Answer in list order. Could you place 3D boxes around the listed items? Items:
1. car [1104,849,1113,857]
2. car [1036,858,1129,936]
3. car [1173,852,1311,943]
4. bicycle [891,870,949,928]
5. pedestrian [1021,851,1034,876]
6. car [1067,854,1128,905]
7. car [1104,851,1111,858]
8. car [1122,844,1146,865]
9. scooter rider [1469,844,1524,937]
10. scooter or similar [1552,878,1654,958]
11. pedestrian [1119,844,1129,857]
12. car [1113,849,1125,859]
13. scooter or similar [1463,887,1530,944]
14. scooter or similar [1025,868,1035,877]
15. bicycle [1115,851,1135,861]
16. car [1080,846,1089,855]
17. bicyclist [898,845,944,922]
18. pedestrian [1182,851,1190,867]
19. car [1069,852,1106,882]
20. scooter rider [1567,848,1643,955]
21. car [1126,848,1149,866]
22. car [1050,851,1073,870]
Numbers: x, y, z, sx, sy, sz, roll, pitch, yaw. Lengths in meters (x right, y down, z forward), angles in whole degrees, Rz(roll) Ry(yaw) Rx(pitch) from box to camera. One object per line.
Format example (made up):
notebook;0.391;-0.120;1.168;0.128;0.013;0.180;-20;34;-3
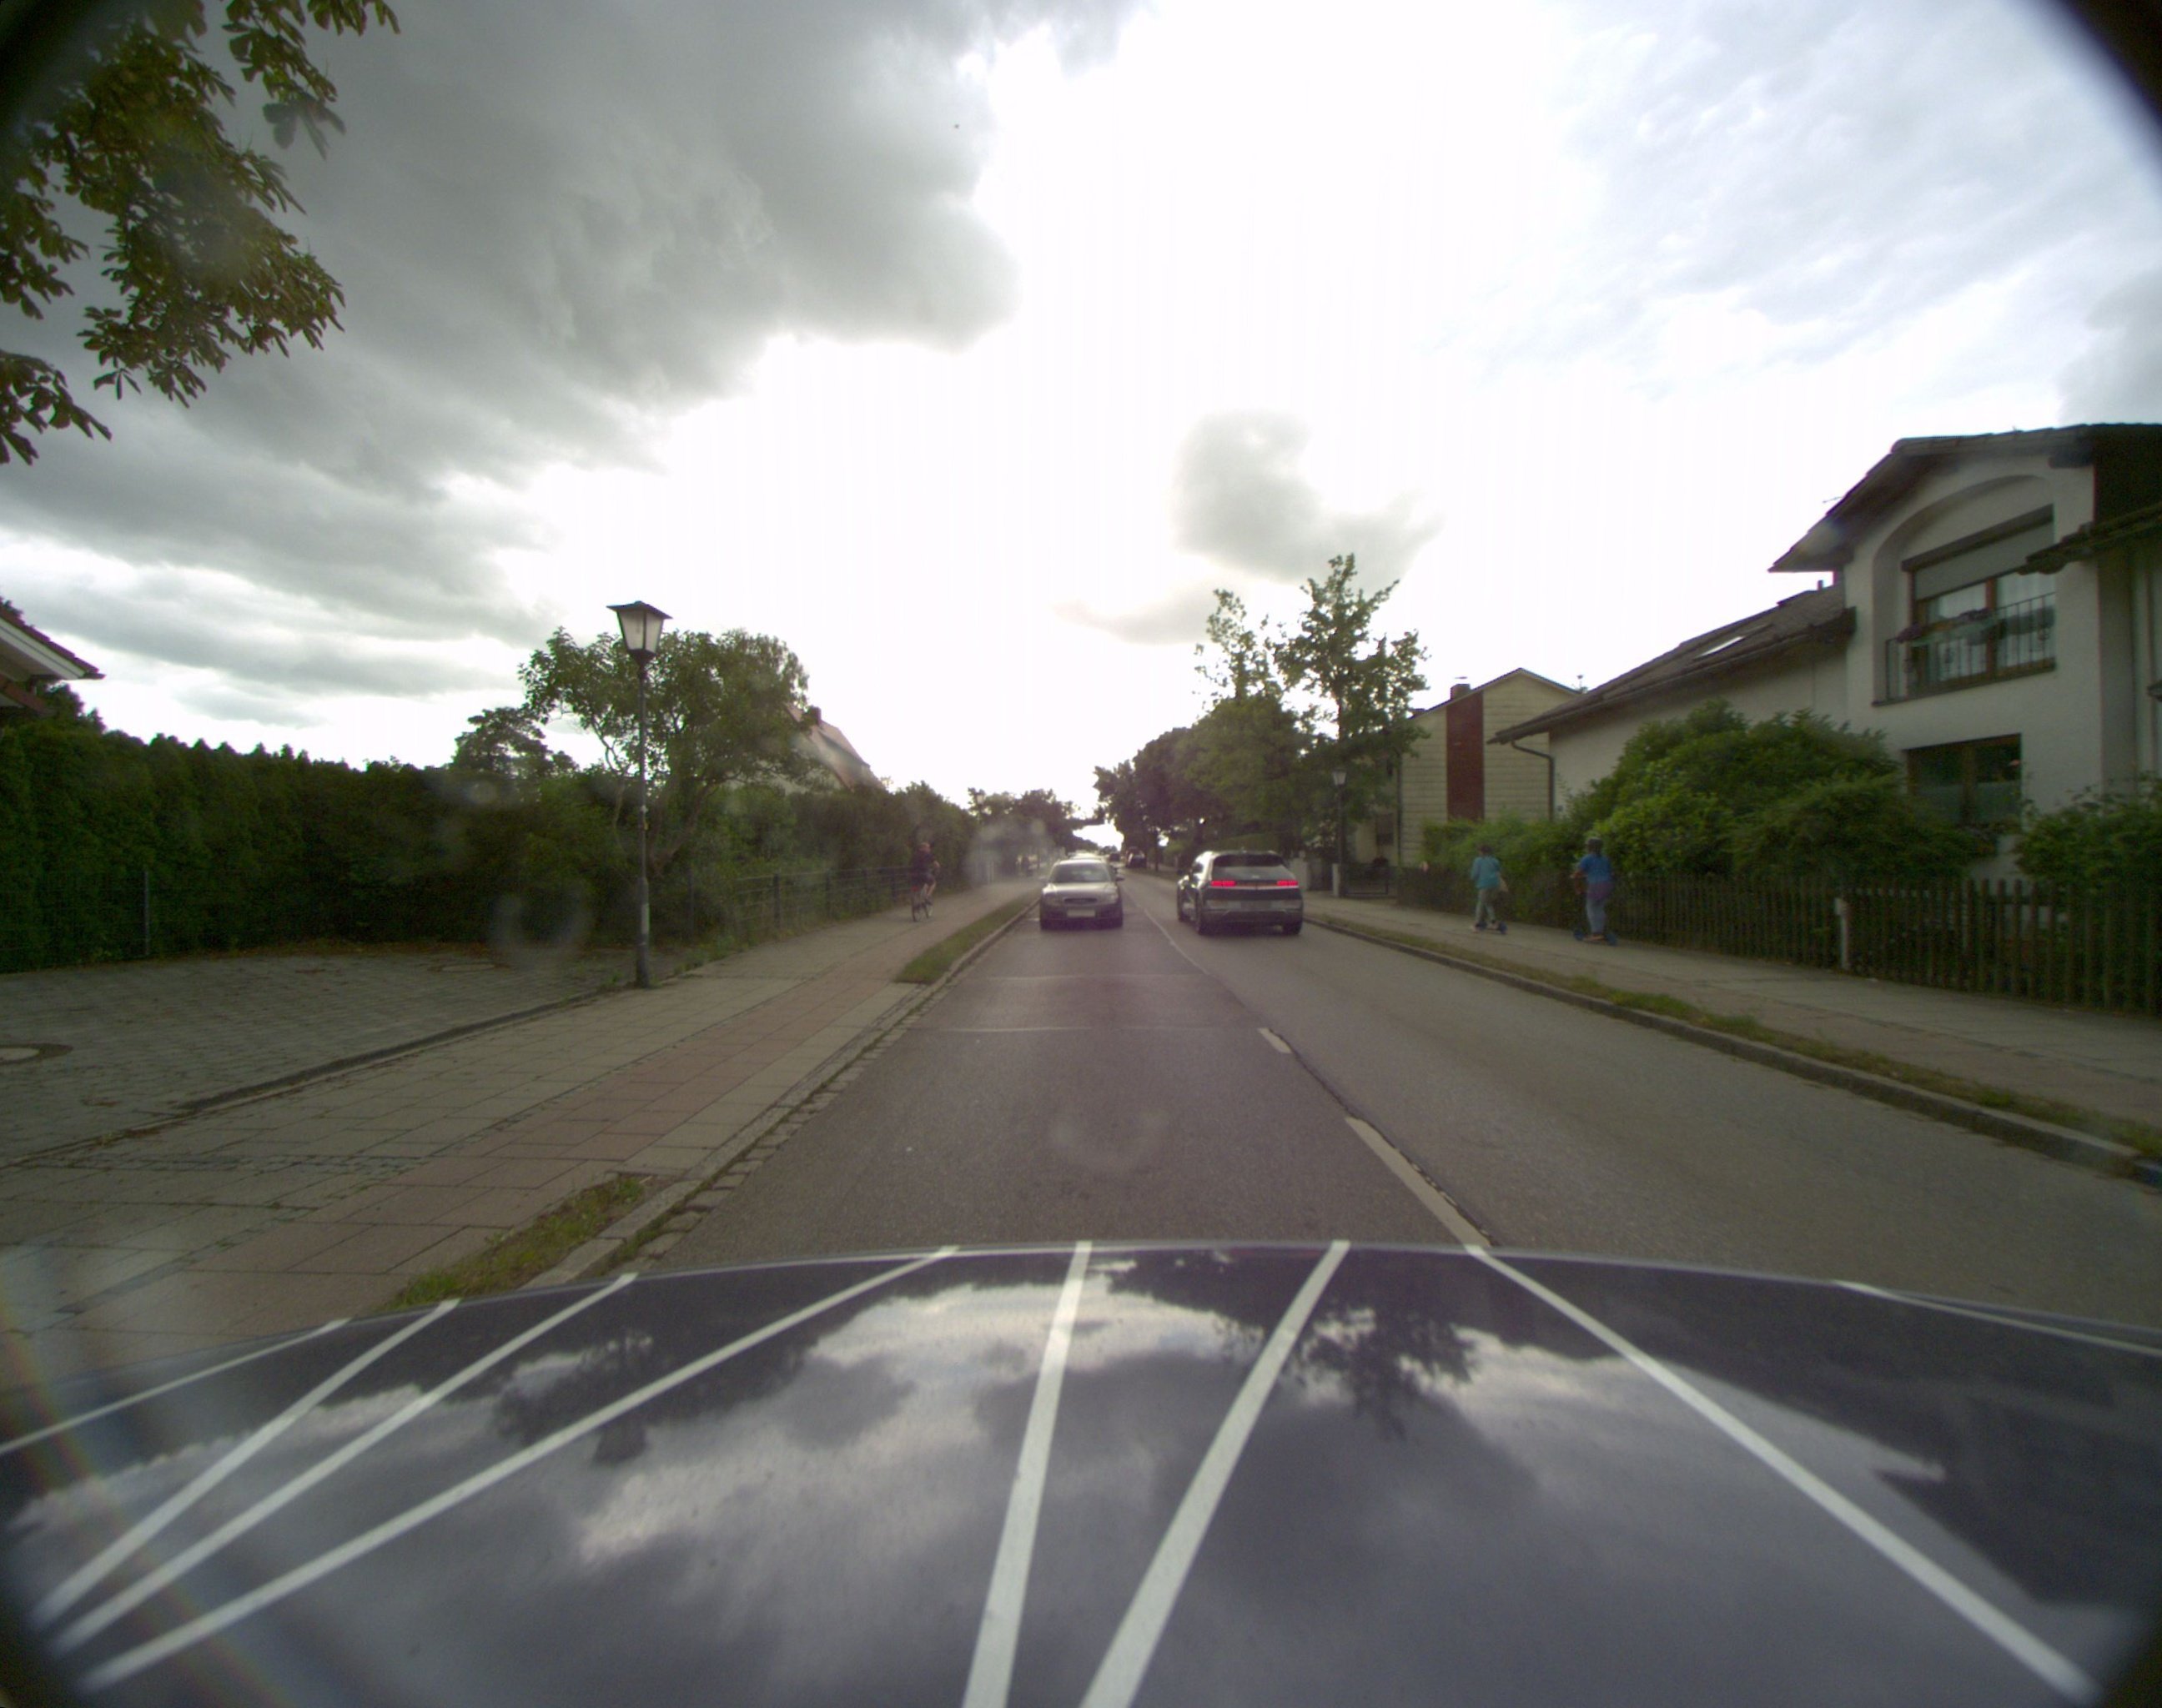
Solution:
car;6.111;-0.201;170.804;1.904;1.873;5.010;-1;0;1
car;0.034;0.865;17.226;1.809;1.476;4.270;-1;0;0
car;3.090;0.762;15.510;1.935;1.566;4.311;-1;0;0
bicycle;-3.480;0.947;16.587;0.766;1.136;1.845;-1;0;2
pedestrian;-3.428;0.578;49.089;0.793;1.592;0.671;-1;1;-2
car;0.522;0.788;26.122;1.866;1.518;4.943;-1;0;0
car;6.867;0.056;197.013;1.904;1.873;5.010;-1;0;1
car;5.976;0.018;86.606;2.246;2.258;4.469;-1;0;-2
scooter rider;6.827;0.587;12.513;0.504;1.481;0.716;-1;1;1
scooter or similar;7.425;0.890;10.864;0.663;1.031;1.178;-1;0;2
pedestrian;6.791;-0.594;119.788;1.252;2.002;1.023;-2;1;23
car;6.997;-0.066;140.075;1.969;1.842;4.948;-1;0;1
scooter or similar;6.838;1.000;12.550;0.522;0.845;1.061;-1;0;1
scooter or similar;-3.235;1.148;48.426;0.618;0.553;0.742;-1;0;-4
bicycle;6.913;0.336;119.750;2.911;1.541;0.941;-1;1;23
car;0.780;-0.806;179.320;1.998;2.002;4.000;-1;0;0
bicyclist;-3.485;0.625;16.608;0.738;1.623;0.891;1;1;4
pedestrian;9.395;0.436;67.778;0.631;1.429;0.563;-1;1;0
car;0.339;0.662;41.541;1.866;1.518;4.122;-1;0;0
scooter rider;7.423;0.655;10.782;0.664;1.464;0.581;-1;1;1
car;5.979;0.309;80.767;1.999;1.739;3.999;-1;0;-2
car;-1.572;0.497;63.098;1.867;1.518;4.122;-1;0;-1
